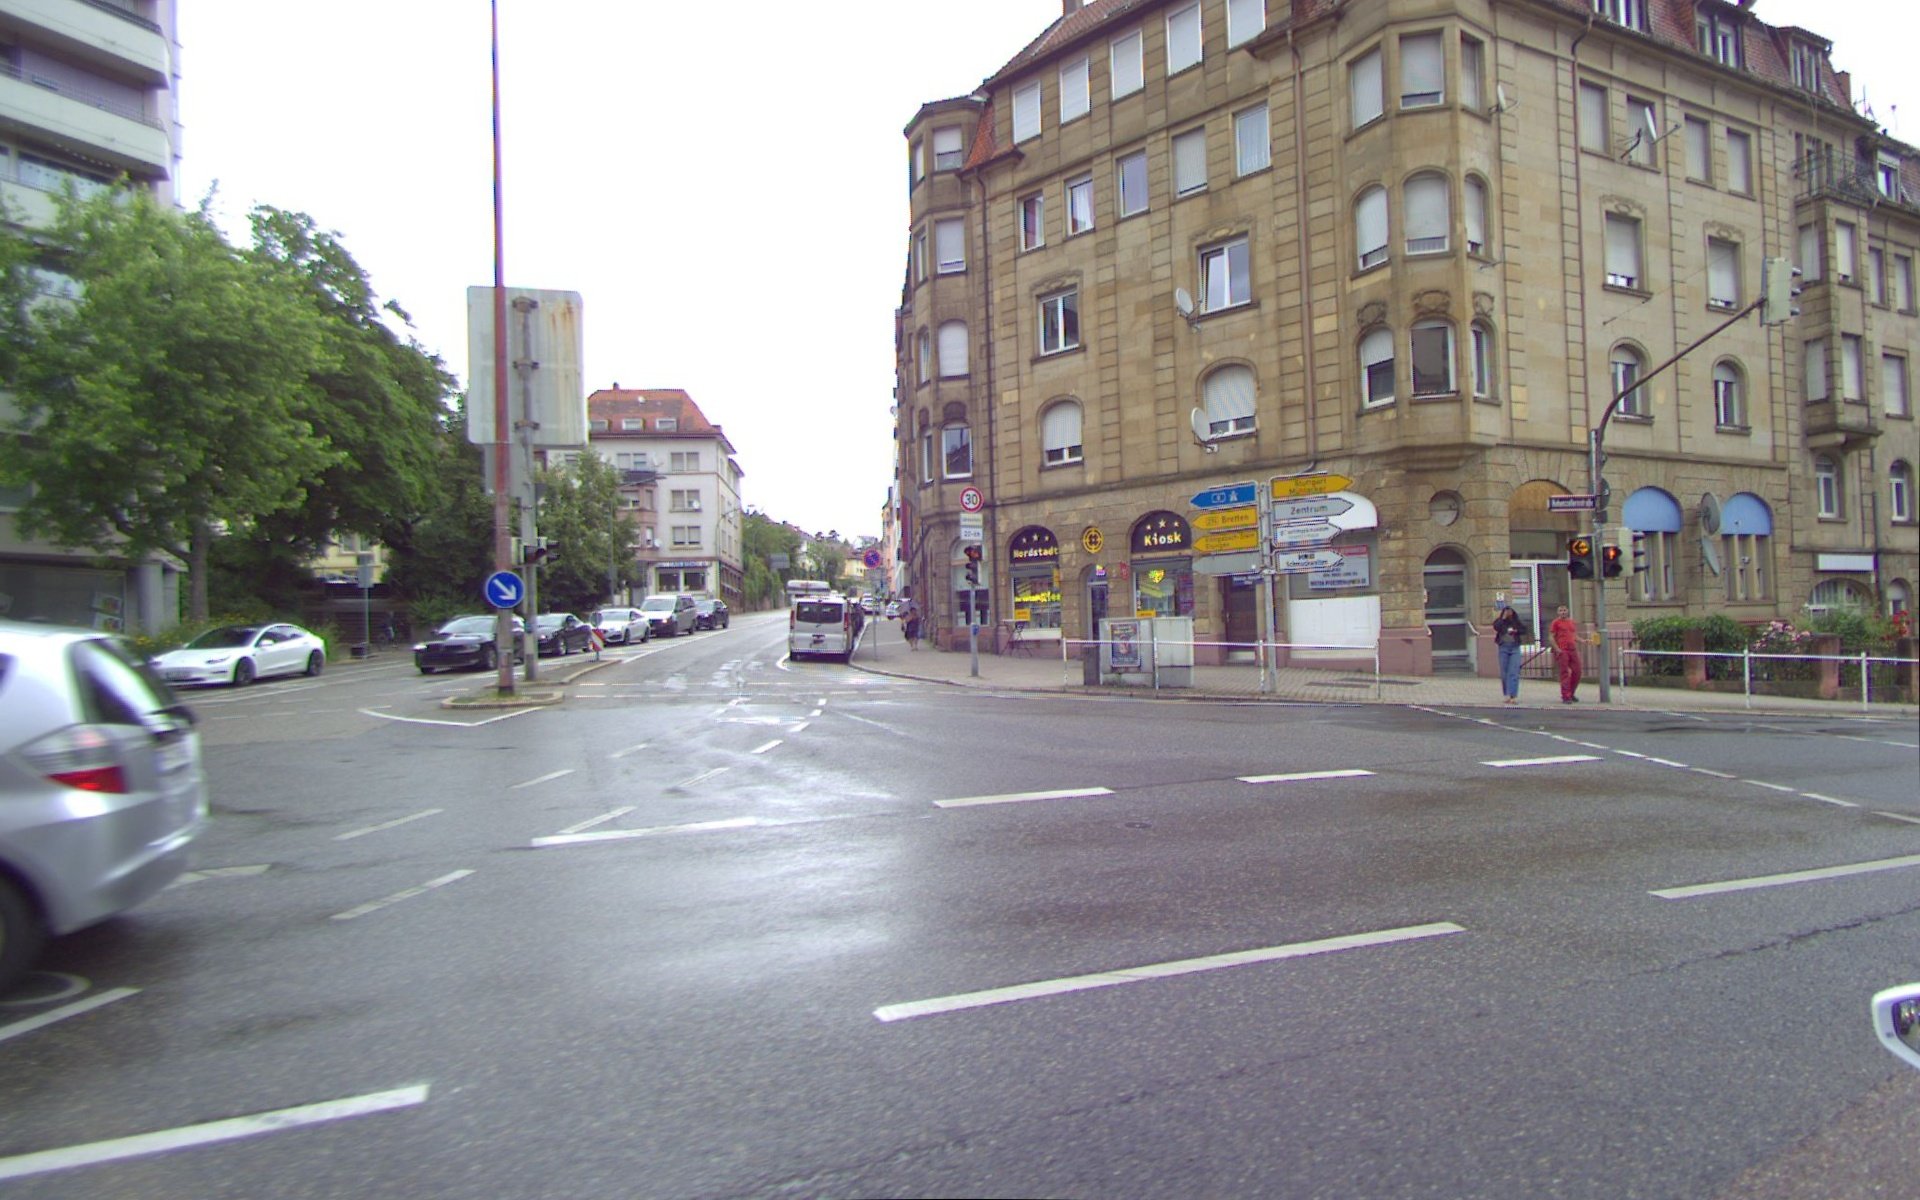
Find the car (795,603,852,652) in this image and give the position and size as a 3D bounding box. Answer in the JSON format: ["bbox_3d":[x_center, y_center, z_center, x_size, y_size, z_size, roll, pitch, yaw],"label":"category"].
[{"bbox_3d":[-5.077,1.017,37.885,1.962,1.727,4.378,1,-1,-6],"label":"car"}]

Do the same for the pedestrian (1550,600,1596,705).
[{"bbox_3d":[10.811,0.909,17.717,0.682,1.797,0.523,0,0,33],"label":"pedestrian"}]

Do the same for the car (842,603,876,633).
[{"bbox_3d":[-6.175,1.115,61.608,1.962,1.727,4.212,1,-1,-6],"label":"car"}]

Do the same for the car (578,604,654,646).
[{"bbox_3d":[-13.637,0.976,40.084,1.705,1.558,4.301,-1,-1,-3],"label":"car"}]

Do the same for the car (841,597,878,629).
[{"bbox_3d":[-5.602,0.731,56.051,1.962,1.727,4.212,1,-1,-6],"label":"car"}]

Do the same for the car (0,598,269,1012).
[{"bbox_3d":[-5.139,0.758,3.882,3.819,1.538,1.620,1,-1,-26],"label":"car"}]

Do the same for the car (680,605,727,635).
[{"bbox_3d":[-14.121,1.073,55.512,1.705,1.558,4.153,-1,-1,-3],"label":"car"}]

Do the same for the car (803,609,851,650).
[{"bbox_3d":[-5.830,1.276,44.492,1.962,1.727,4.212,0,-1,-6],"label":"car"}]

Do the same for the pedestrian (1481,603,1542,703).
[{"bbox_3d":[9.750,0.917,17.789,0.812,1.725,0.639,0,0,15],"label":"pedestrian"}]

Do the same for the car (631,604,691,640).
[{"bbox_3d":[-13.977,1.016,47.156,1.705,1.558,4.153,2,-1,-3],"label":"car"}]

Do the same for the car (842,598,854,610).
[{"bbox_3d":[-16.512,0.628,147.906,1.666,1.727,4.212,1,-1,-6],"label":"car"}]

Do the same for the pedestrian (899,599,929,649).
[{"bbox_3d":[-1.571,0.813,34.227,0.774,1.683,0.665,1,0,-31],"label":"pedestrian"}]

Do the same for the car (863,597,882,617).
[{"bbox_3d":[-7.967,0.675,91.532,1.666,1.727,4.212,1,-1,-6],"label":"car"}]

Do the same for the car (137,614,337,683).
[{"bbox_3d":[-17.512,1.123,24.633,1.877,1.511,4.391,0,-1,-3],"label":"car"}]

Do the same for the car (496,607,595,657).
[{"bbox_3d":[-13.540,1.016,33.041,1.732,1.511,4.022,-1,-1,-3],"label":"car"}]

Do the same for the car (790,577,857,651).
[{"bbox_3d":[-4.382,0.466,32.773,1.962,2.197,4.800,1,-1,-6],"label":"car"}]

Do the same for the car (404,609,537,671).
[{"bbox_3d":[-12.990,1.018,26.940,1.732,1.511,4.022,-1,-1,-3],"label":"car"}]
